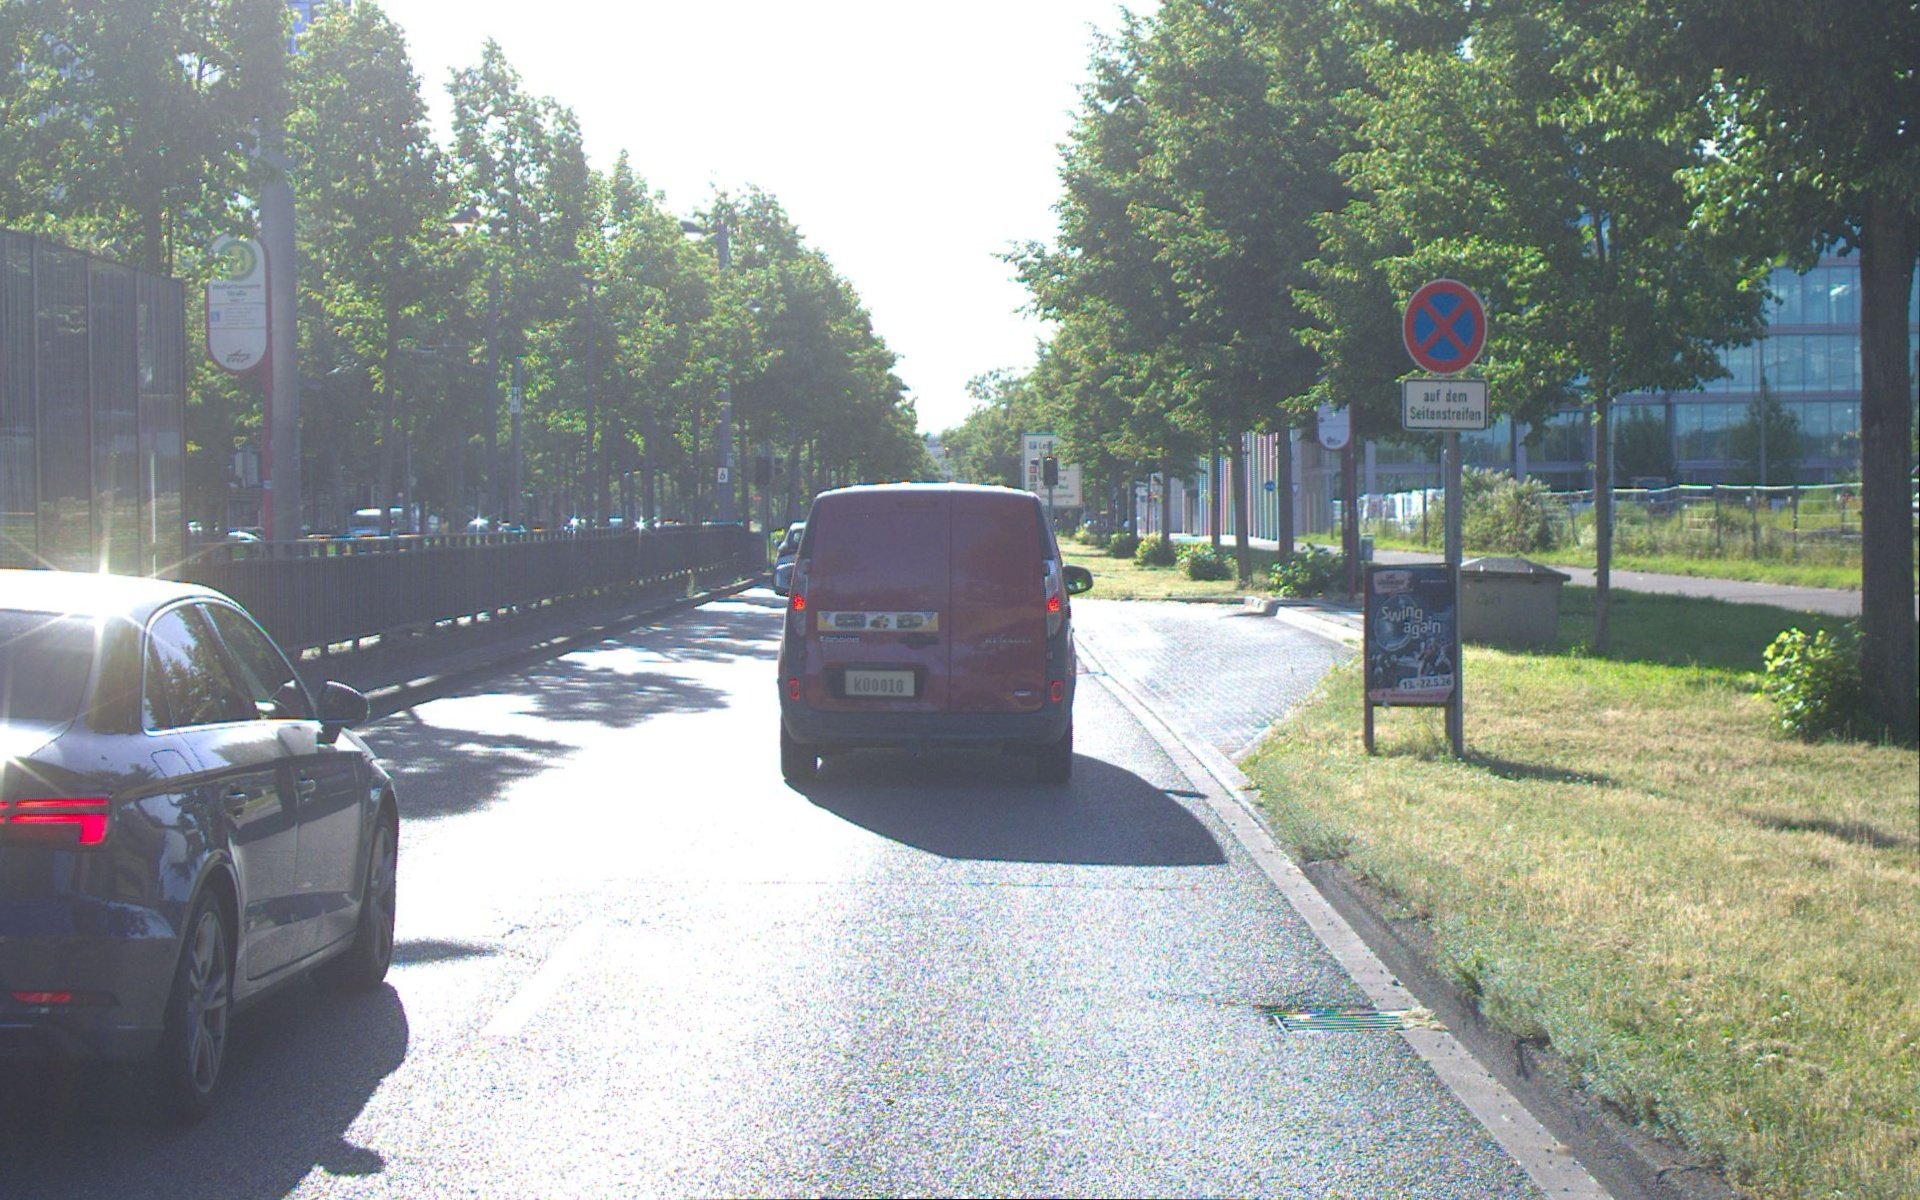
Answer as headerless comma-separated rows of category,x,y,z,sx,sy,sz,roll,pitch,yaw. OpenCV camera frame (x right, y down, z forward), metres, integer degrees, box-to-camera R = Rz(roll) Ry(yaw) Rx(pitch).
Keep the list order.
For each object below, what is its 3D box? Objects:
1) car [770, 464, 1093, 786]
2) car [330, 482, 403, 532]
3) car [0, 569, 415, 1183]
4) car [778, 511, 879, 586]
car,-0.229,0.071,21.782,1.797,1.770,4.001,2,3,-2
car,-22.396,-3.488,129.915,1.993,1.744,4.228,-2,1,0
car,-2.767,0.604,9.811,1.721,1.362,4.146,0,1,1
car,-2.612,-1.035,68.455,1.942,1.436,4.001,-1,1,-2
